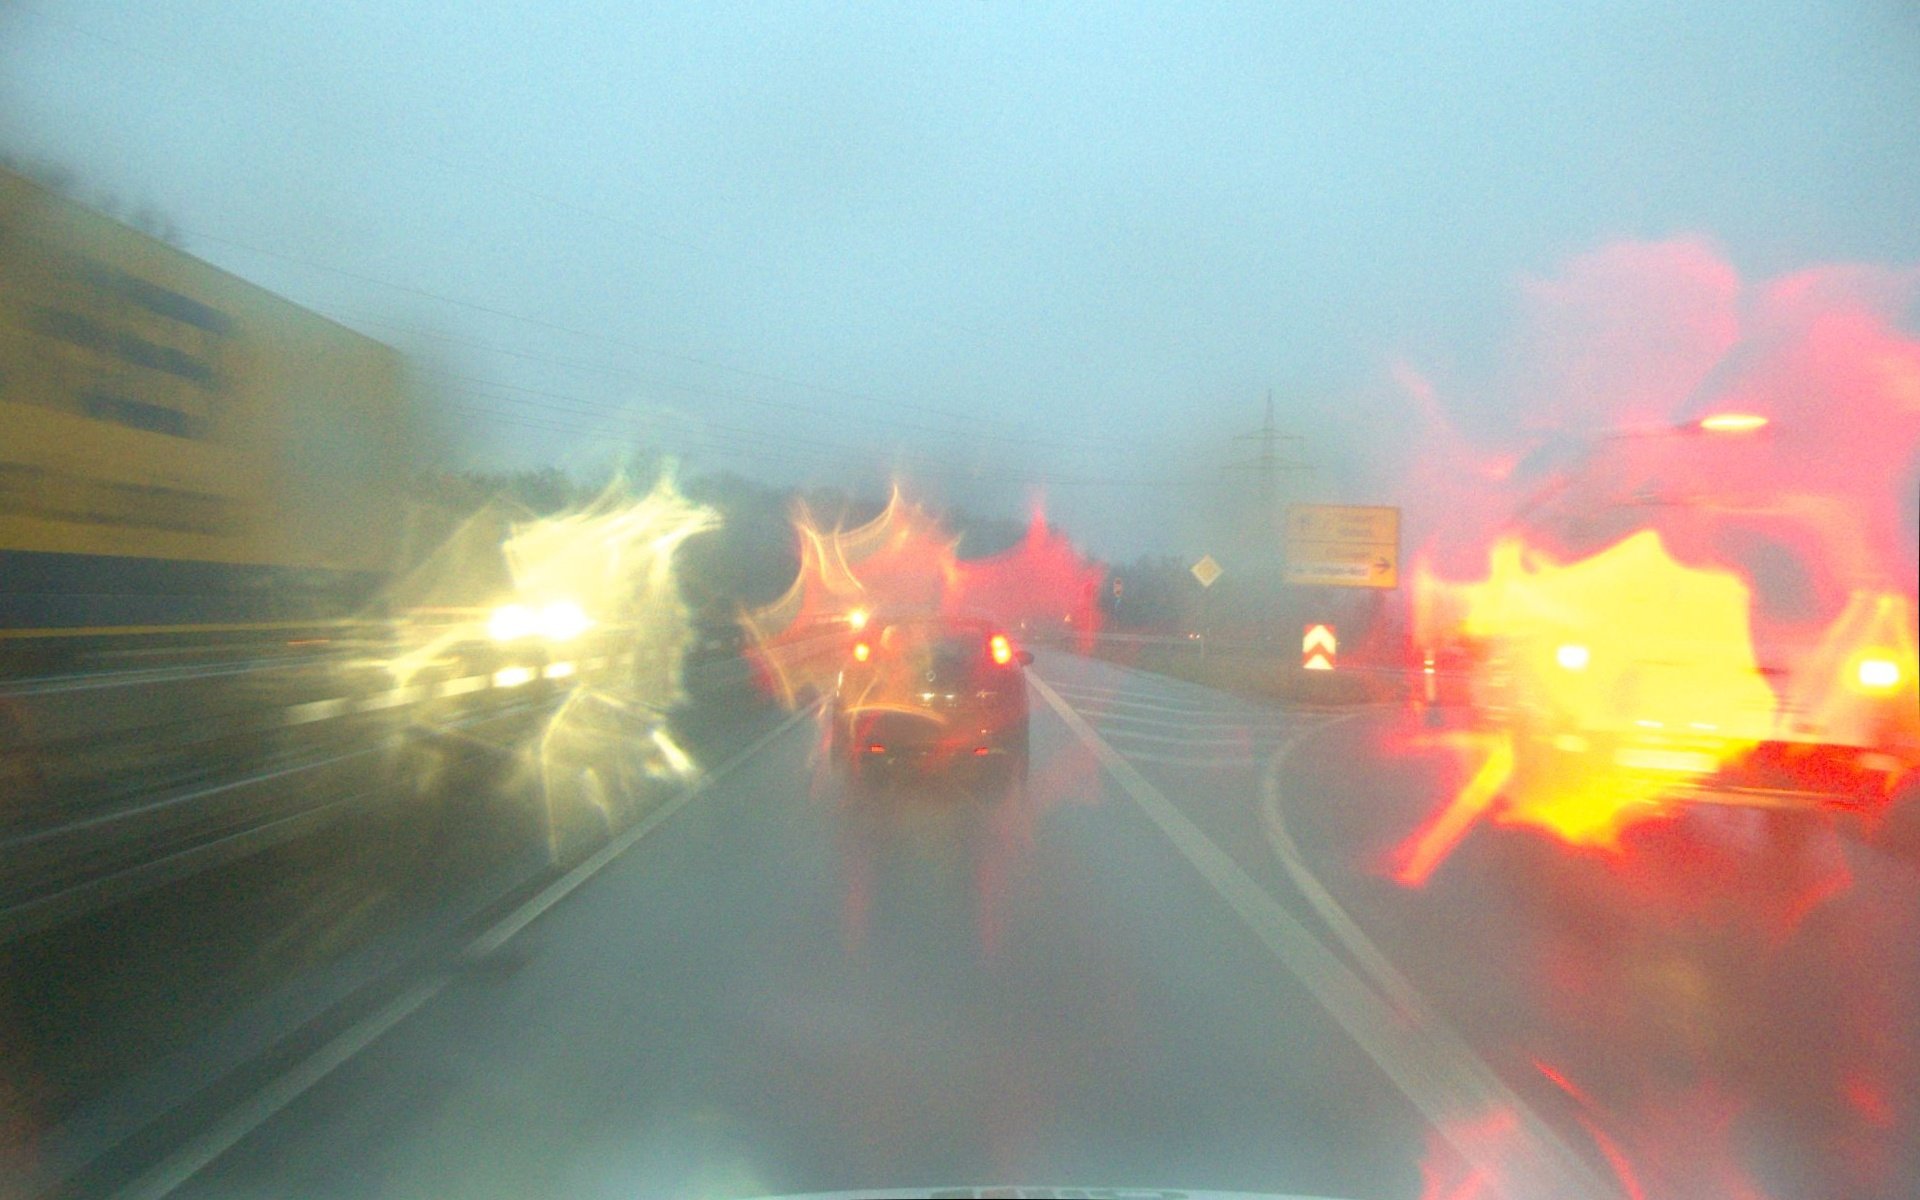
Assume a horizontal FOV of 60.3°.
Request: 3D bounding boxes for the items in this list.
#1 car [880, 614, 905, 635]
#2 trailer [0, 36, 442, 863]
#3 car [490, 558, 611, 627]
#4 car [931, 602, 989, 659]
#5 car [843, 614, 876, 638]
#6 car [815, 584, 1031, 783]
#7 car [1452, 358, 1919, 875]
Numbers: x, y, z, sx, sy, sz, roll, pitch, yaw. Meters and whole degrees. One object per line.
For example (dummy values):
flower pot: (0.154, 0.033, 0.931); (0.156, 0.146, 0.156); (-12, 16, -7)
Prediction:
car: (-5.061, 1.814, 124.259); (1.612, 1.528, 4.000); (0, -1, 1)
trailer: (-6.710, -0.843, 10.746); (2.574, 4.665, 13.323); (0, 0, 0)
car: (-10.382, -0.233, 42.237); (2.051, 1.621, 4.477); (1, 1, -2)
car: (-0.048, 1.095, 60.768); (1.953, 1.846, 3.999); (3, 1, -2)
car: (-6.535, 1.680, 107.939); (1.953, 1.498, 4.471); (1, -1, -1)
car: (-0.252, 0.685, 14.993); (1.694, 1.559, 4.042); (0, -1, 1)
car: (5.325, 0.121, 12.985); (2.233, 3.018, 6.395); (1, -1, 12)
